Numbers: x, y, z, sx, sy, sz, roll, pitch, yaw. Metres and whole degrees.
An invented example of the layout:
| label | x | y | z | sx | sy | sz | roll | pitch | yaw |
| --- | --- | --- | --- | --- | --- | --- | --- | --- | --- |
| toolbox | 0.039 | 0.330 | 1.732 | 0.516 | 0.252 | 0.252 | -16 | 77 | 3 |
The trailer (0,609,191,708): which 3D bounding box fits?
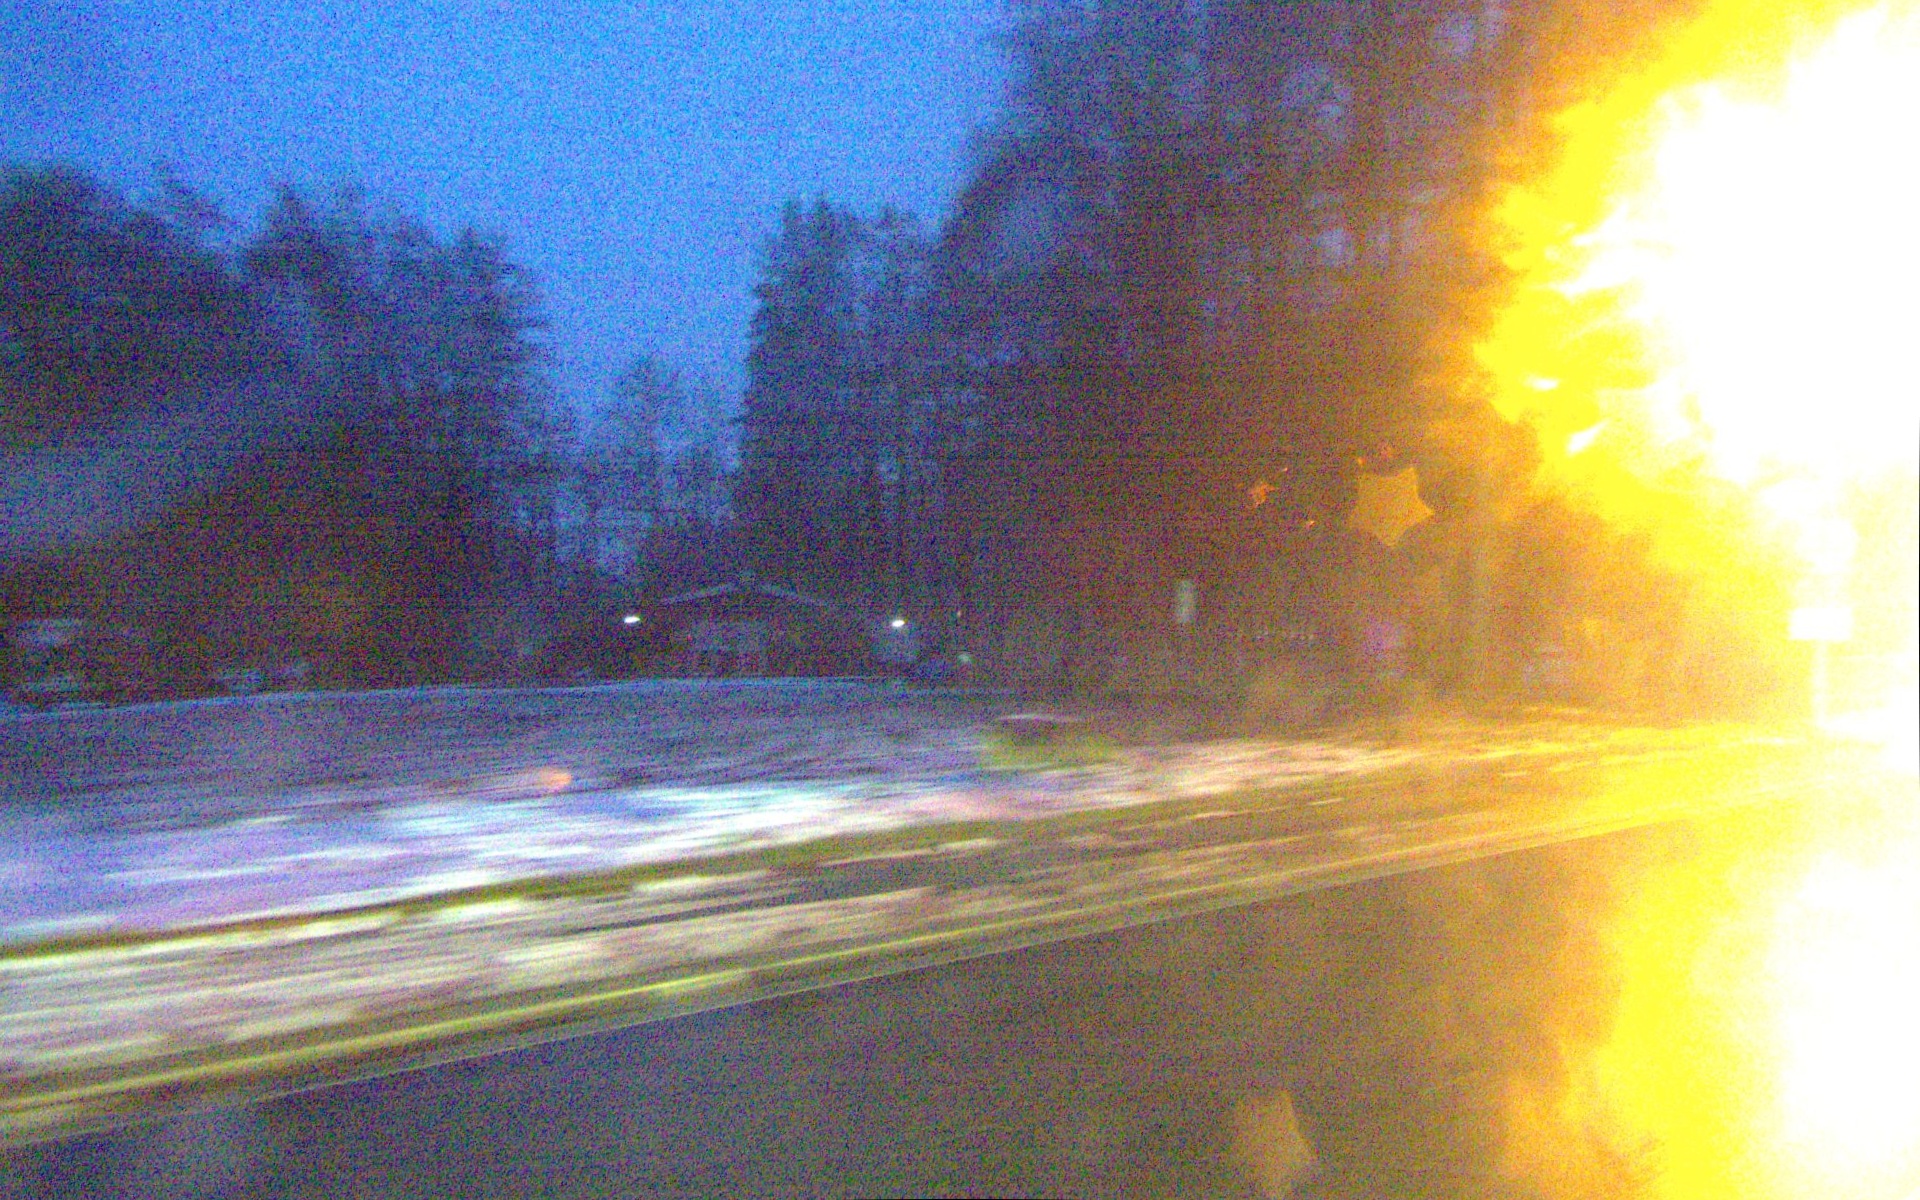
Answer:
| label | x | y | z | sx | sy | sz | roll | pitch | yaw |
| --- | --- | --- | --- | --- | --- | --- | --- | --- | --- |
| trailer | -21.491 | 1.493 | 25.147 | 1.939 | 2.246 | 3.804 | 2 | -4 | -11 |
